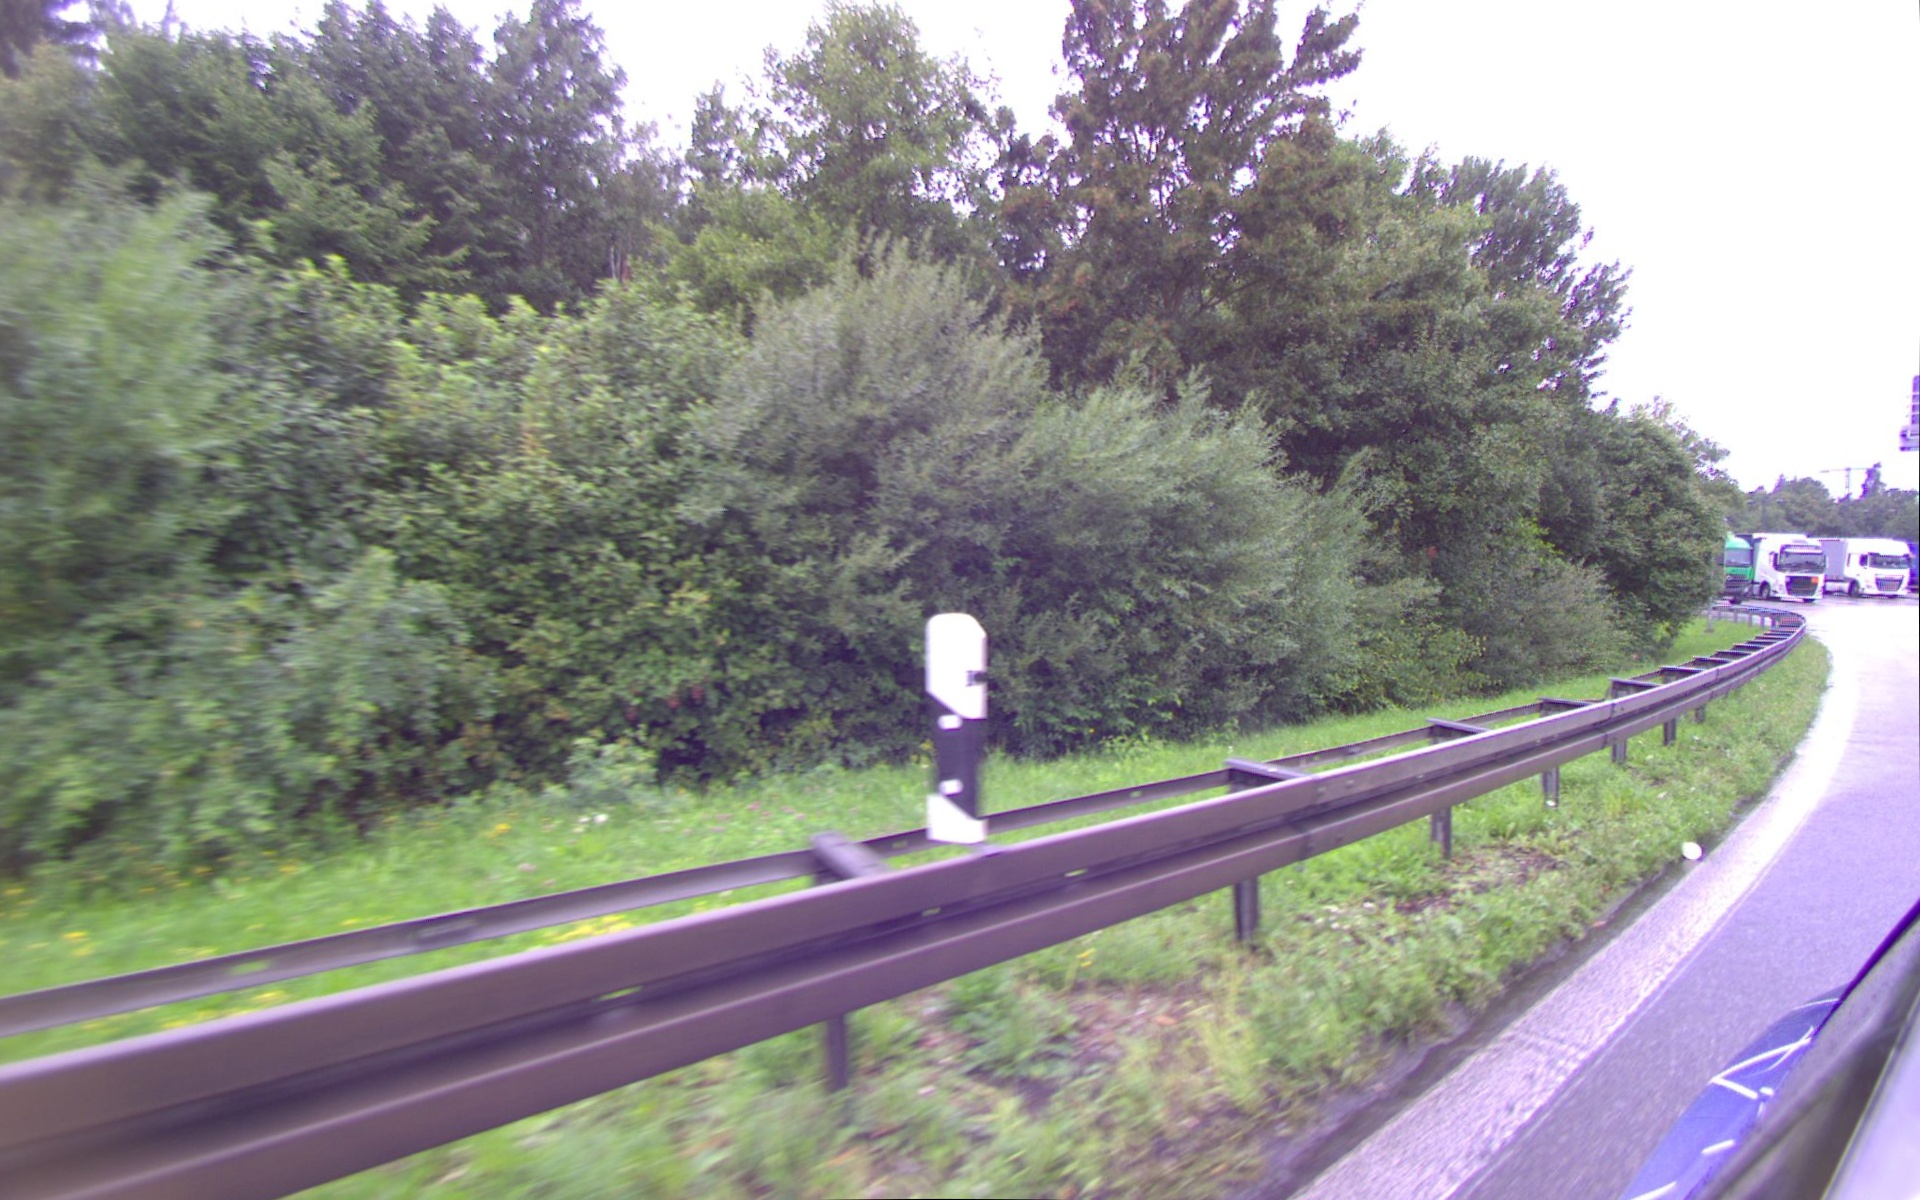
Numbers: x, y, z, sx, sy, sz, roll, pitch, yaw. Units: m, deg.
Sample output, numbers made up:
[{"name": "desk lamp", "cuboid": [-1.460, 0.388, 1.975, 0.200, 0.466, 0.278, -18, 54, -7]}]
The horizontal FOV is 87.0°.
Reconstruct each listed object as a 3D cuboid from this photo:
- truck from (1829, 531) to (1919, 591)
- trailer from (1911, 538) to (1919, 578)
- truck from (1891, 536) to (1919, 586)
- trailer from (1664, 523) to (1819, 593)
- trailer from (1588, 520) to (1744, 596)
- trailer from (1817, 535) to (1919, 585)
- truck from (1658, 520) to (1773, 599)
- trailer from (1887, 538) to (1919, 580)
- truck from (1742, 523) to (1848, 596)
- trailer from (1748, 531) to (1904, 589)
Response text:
[{"name": "truck", "cuboid": [63.457, -2.720, 69.910, 2.789, 3.959, 5.392, 2, 3, 13]}, {"name": "trailer", "cuboid": [96.011, -3.782, 94.897, 2.831, 3.965, 13.899, 2, 4, 11]}, {"name": "truck", "cuboid": [78.270, -3.032, 80.288, 2.800, 3.966, 8.097, 2, 4, 15]}, {"name": "trailer", "cuboid": [52.470, -2.986, 68.679, 2.785, 4.220, 13.943, 2, 4, 14]}, {"name": "trailer", "cuboid": [44.010, -2.794, 63.866, 2.784, 4.199, 13.924, 2, 4, 12]}, {"name": "trailer", "cuboid": [79.972, -3.530, 86.710, 2.828, 3.965, 16.568, 2, 4, 15]}, {"name": "truck", "cuboid": [42.465, -2.360, 57.138, 2.784, 4.199, 5.979, 2, 4, 13]}, {"name": "trailer", "cuboid": [92.016, -3.633, 92.534, 3.195, 3.965, 14.791, 2, 4, 11]}, {"name": "truck", "cuboid": [50.709, -2.517, 61.679, 2.786, 4.195, 5.283, 2, 4, 14]}, {"name": "trailer", "cuboid": [65.114, -3.201, 76.747, 2.802, 3.966, 13.905, 2, 4, 14]}]
